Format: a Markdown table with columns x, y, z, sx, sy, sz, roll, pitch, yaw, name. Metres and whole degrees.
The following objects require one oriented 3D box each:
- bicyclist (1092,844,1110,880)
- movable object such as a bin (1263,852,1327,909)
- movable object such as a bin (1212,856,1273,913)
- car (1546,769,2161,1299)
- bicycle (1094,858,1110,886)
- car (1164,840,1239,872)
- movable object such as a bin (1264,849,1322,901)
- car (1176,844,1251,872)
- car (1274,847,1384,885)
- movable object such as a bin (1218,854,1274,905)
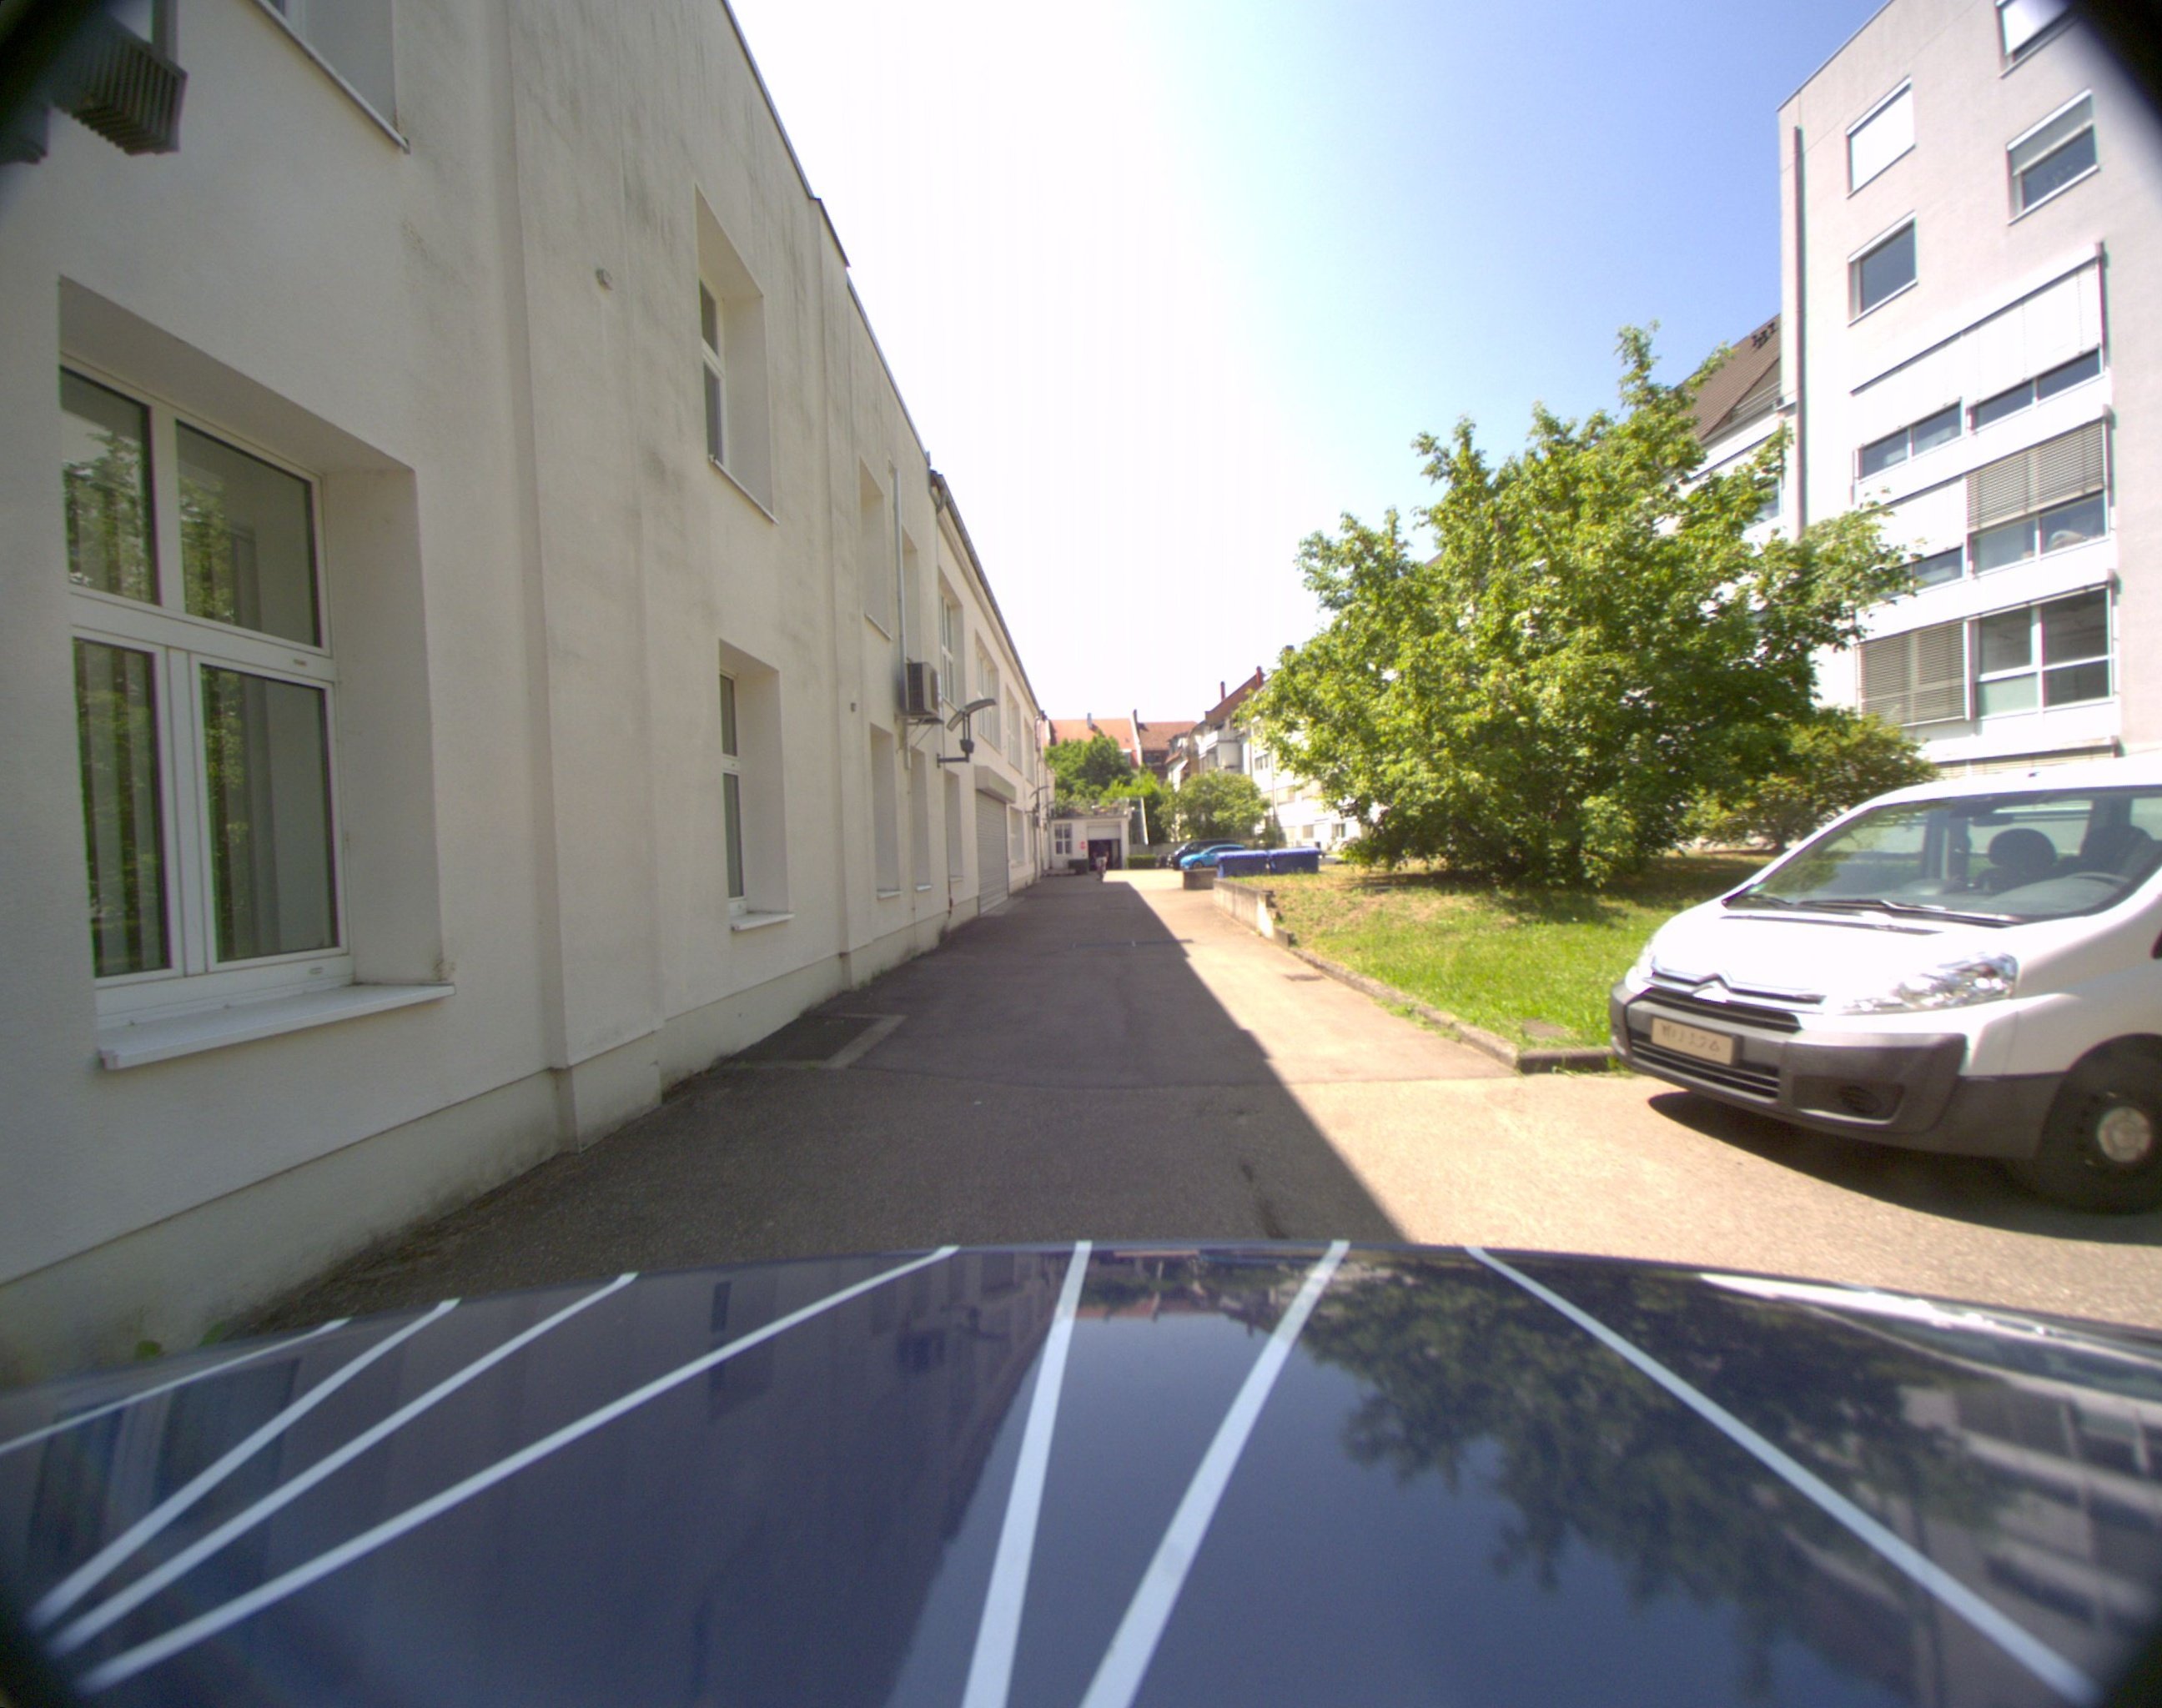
| x | y | z | sx | sy | sz | roll | pitch | yaw | name |
| --- | --- | --- | --- | --- | --- | --- | --- | --- | --- |
| 0.906 | 0.349 | 34.288 | 0.724 | 1.600 | 0.978 | -3 | 1 | 1 | bicyclist |
| 5.373 | 0.653 | 19.147 | 1.257 | 1.320 | 1.104 | -3 | 1 | 1 | movable object such as a bin |
| 4.052 | 0.742 | 19.162 | 1.257 | 1.320 | 1.104 | -3 | 1 | 1 | movable object such as a bin |
| 5.379 | 0.599 | 3.898 | 4.802 | 1.900 | 1.999 | -2 | 0 | -4 | car |
| 0.923 | 0.788 | 34.354 | 0.645 | 1.167 | 1.904 | -2 | 1 | 0 | bicycle |
| 7.777 | 0.083 | 49.346 | 4.449 | 1.822 | 1.999 | -3 | 2 | -2 | car |
| 5.832 | 0.557 | 20.948 | 1.257 | 1.320 | 1.104 | -3 | 1 | 1 | movable object such as a bin |
| 8.124 | 0.243 | 46.713 | 4.168 | 1.545 | 1.858 | -2 | 1 | -4 | car |
| 10.229 | 0.472 | 31.493 | 3.998 | 1.428 | 1.710 | -1 | 1 | -2 | car |
| 4.523 | 0.686 | 20.933 | 1.257 | 1.320 | 1.104 | -3 | 1 | 1 | movable object such as a bin |
